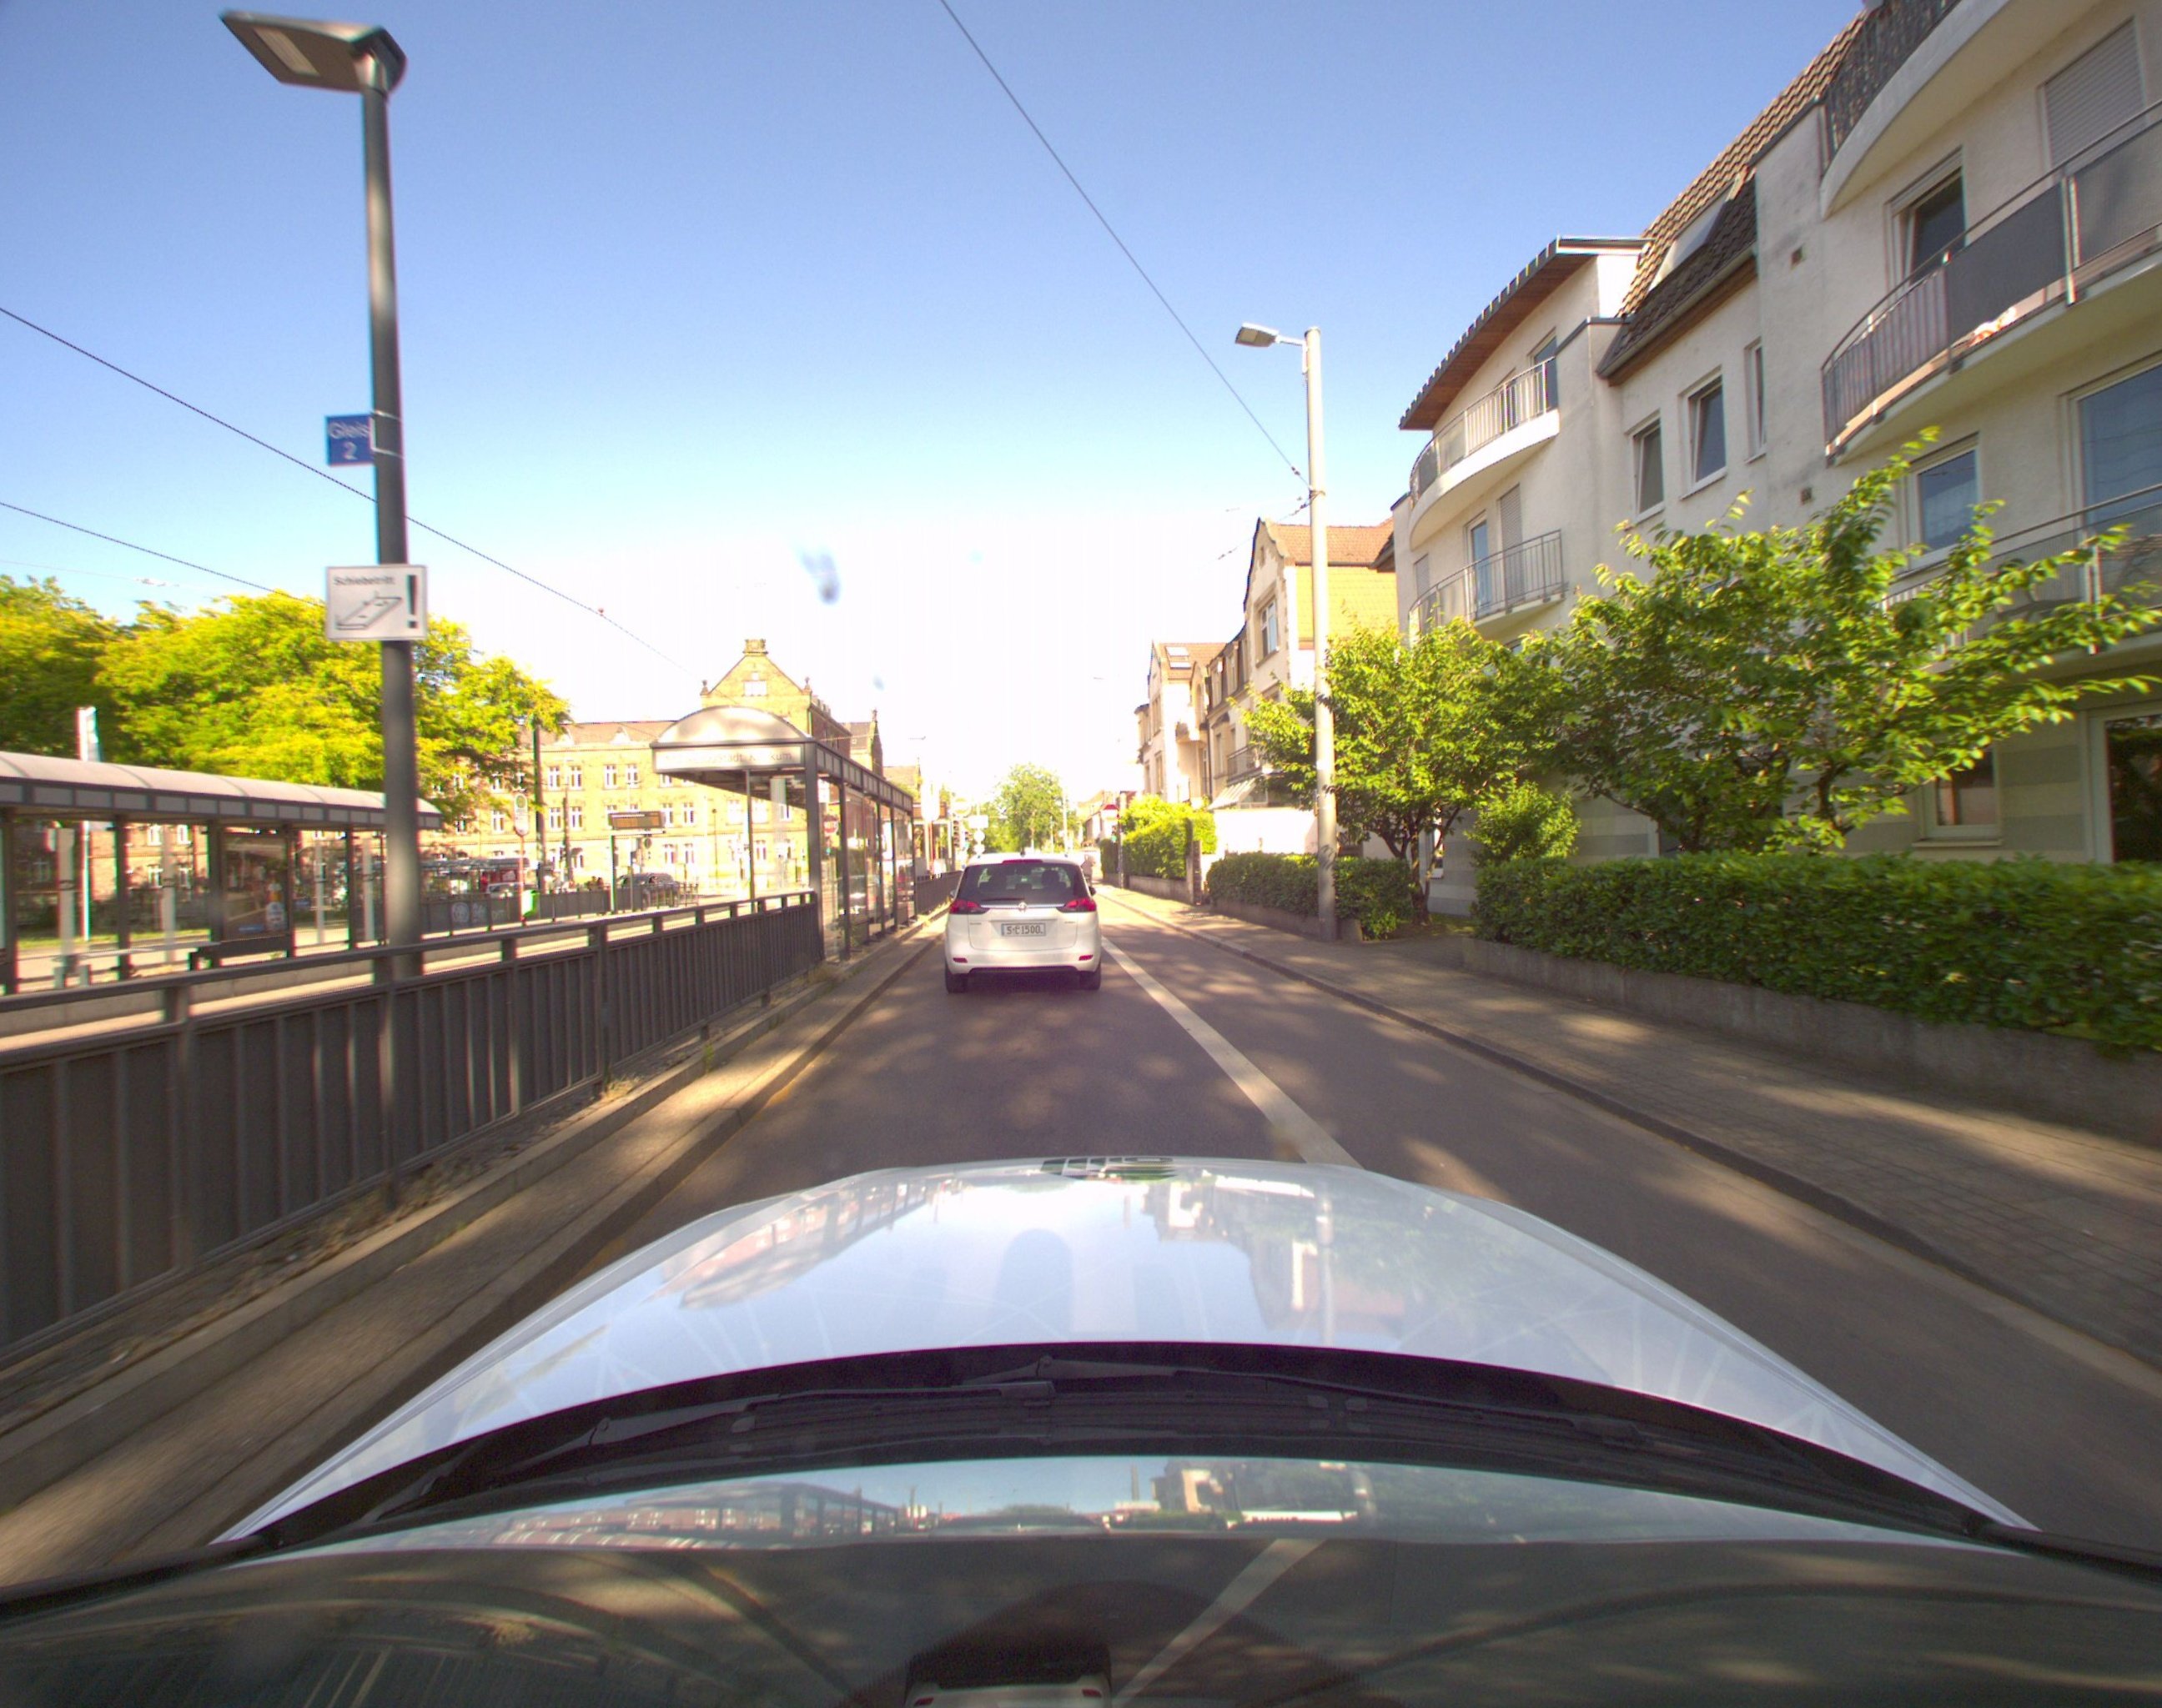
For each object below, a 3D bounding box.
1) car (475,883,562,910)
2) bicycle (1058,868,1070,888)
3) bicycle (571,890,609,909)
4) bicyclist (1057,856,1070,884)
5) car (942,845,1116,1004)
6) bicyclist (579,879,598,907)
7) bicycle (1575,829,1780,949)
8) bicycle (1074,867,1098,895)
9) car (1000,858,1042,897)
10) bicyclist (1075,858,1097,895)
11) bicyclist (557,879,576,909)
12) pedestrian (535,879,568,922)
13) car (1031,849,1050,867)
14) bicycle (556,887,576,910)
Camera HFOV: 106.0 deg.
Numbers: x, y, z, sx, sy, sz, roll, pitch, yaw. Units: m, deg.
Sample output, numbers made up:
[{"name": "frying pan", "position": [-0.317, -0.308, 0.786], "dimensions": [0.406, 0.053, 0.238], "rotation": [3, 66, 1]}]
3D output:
[{"name": "car", "position": [-35.198, 2.648, 51.021], "dimensions": [4.054, 1.522, 1.875], "rotation": [-2, -1, -3]}, {"name": "bicycle", "position": [-1.051, 1.431, 49.142], "dimensions": [0.684, 1.157, 1.618], "rotation": [-2, -1, -2]}, {"name": "bicycle", "position": [-29.286, 2.713, 48.591], "dimensions": [1.731, 1.013, 0.800], "rotation": [-2, -1, -5]}, {"name": "bicyclist", "position": [-1.064, 0.955, 49.123], "dimensions": [0.684, 1.634, 1.015], "rotation": [-2, -1, -2]}, {"name": "car", "position": [-0.667, 0.788, 10.745], "dimensions": [1.831, 1.642, 3.913], "rotation": [-2, -1, -3]}, {"name": "bicyclist", "position": [-29.391, 2.326, 48.588], "dimensions": [0.633, 1.636, 0.800], "rotation": [-2, -1, -4]}, {"name": "bicycle", "position": [7.169, 0.400, 9.843], "dimensions": [1.838, 1.203, 0.824], "rotation": [-6, -1, -6]}, {"name": "bicycle", "position": [0.201, 1.162, 35.162], "dimensions": [0.828, 1.154, 2.091], "rotation": [-2, -1, -5]}, {"name": "car", "position": [-2.743, 1.056, 37.361], "dimensions": [1.772, 1.632, 3.874], "rotation": [-2, -1, -4]}, {"name": "bicyclist", "position": [0.199, 0.959, 34.957], "dimensions": [0.820, 1.501, 0.932], "rotation": [-2, -1, -5]}, {"name": "bicyclist", "position": [-24.457, 1.893, 38.713], "dimensions": [0.693, 1.383, 0.529], "rotation": [-1, -1, -31]}, {"name": "pedestrian", "position": [-23.521, 2.049, 36.169], "dimensions": [0.725, 1.861, 1.095], "rotation": [-2, -1, -2]}, {"name": "car", "position": [-3.968, 0.433, 79.997], "dimensions": [1.771, 1.632, 3.878], "rotation": [-2, -1, -2]}, {"name": "bicycle", "position": [-24.425, 2.109, 38.651], "dimensions": [0.695, 1.049, 1.653], "rotation": [-1, -1, -30]}]
